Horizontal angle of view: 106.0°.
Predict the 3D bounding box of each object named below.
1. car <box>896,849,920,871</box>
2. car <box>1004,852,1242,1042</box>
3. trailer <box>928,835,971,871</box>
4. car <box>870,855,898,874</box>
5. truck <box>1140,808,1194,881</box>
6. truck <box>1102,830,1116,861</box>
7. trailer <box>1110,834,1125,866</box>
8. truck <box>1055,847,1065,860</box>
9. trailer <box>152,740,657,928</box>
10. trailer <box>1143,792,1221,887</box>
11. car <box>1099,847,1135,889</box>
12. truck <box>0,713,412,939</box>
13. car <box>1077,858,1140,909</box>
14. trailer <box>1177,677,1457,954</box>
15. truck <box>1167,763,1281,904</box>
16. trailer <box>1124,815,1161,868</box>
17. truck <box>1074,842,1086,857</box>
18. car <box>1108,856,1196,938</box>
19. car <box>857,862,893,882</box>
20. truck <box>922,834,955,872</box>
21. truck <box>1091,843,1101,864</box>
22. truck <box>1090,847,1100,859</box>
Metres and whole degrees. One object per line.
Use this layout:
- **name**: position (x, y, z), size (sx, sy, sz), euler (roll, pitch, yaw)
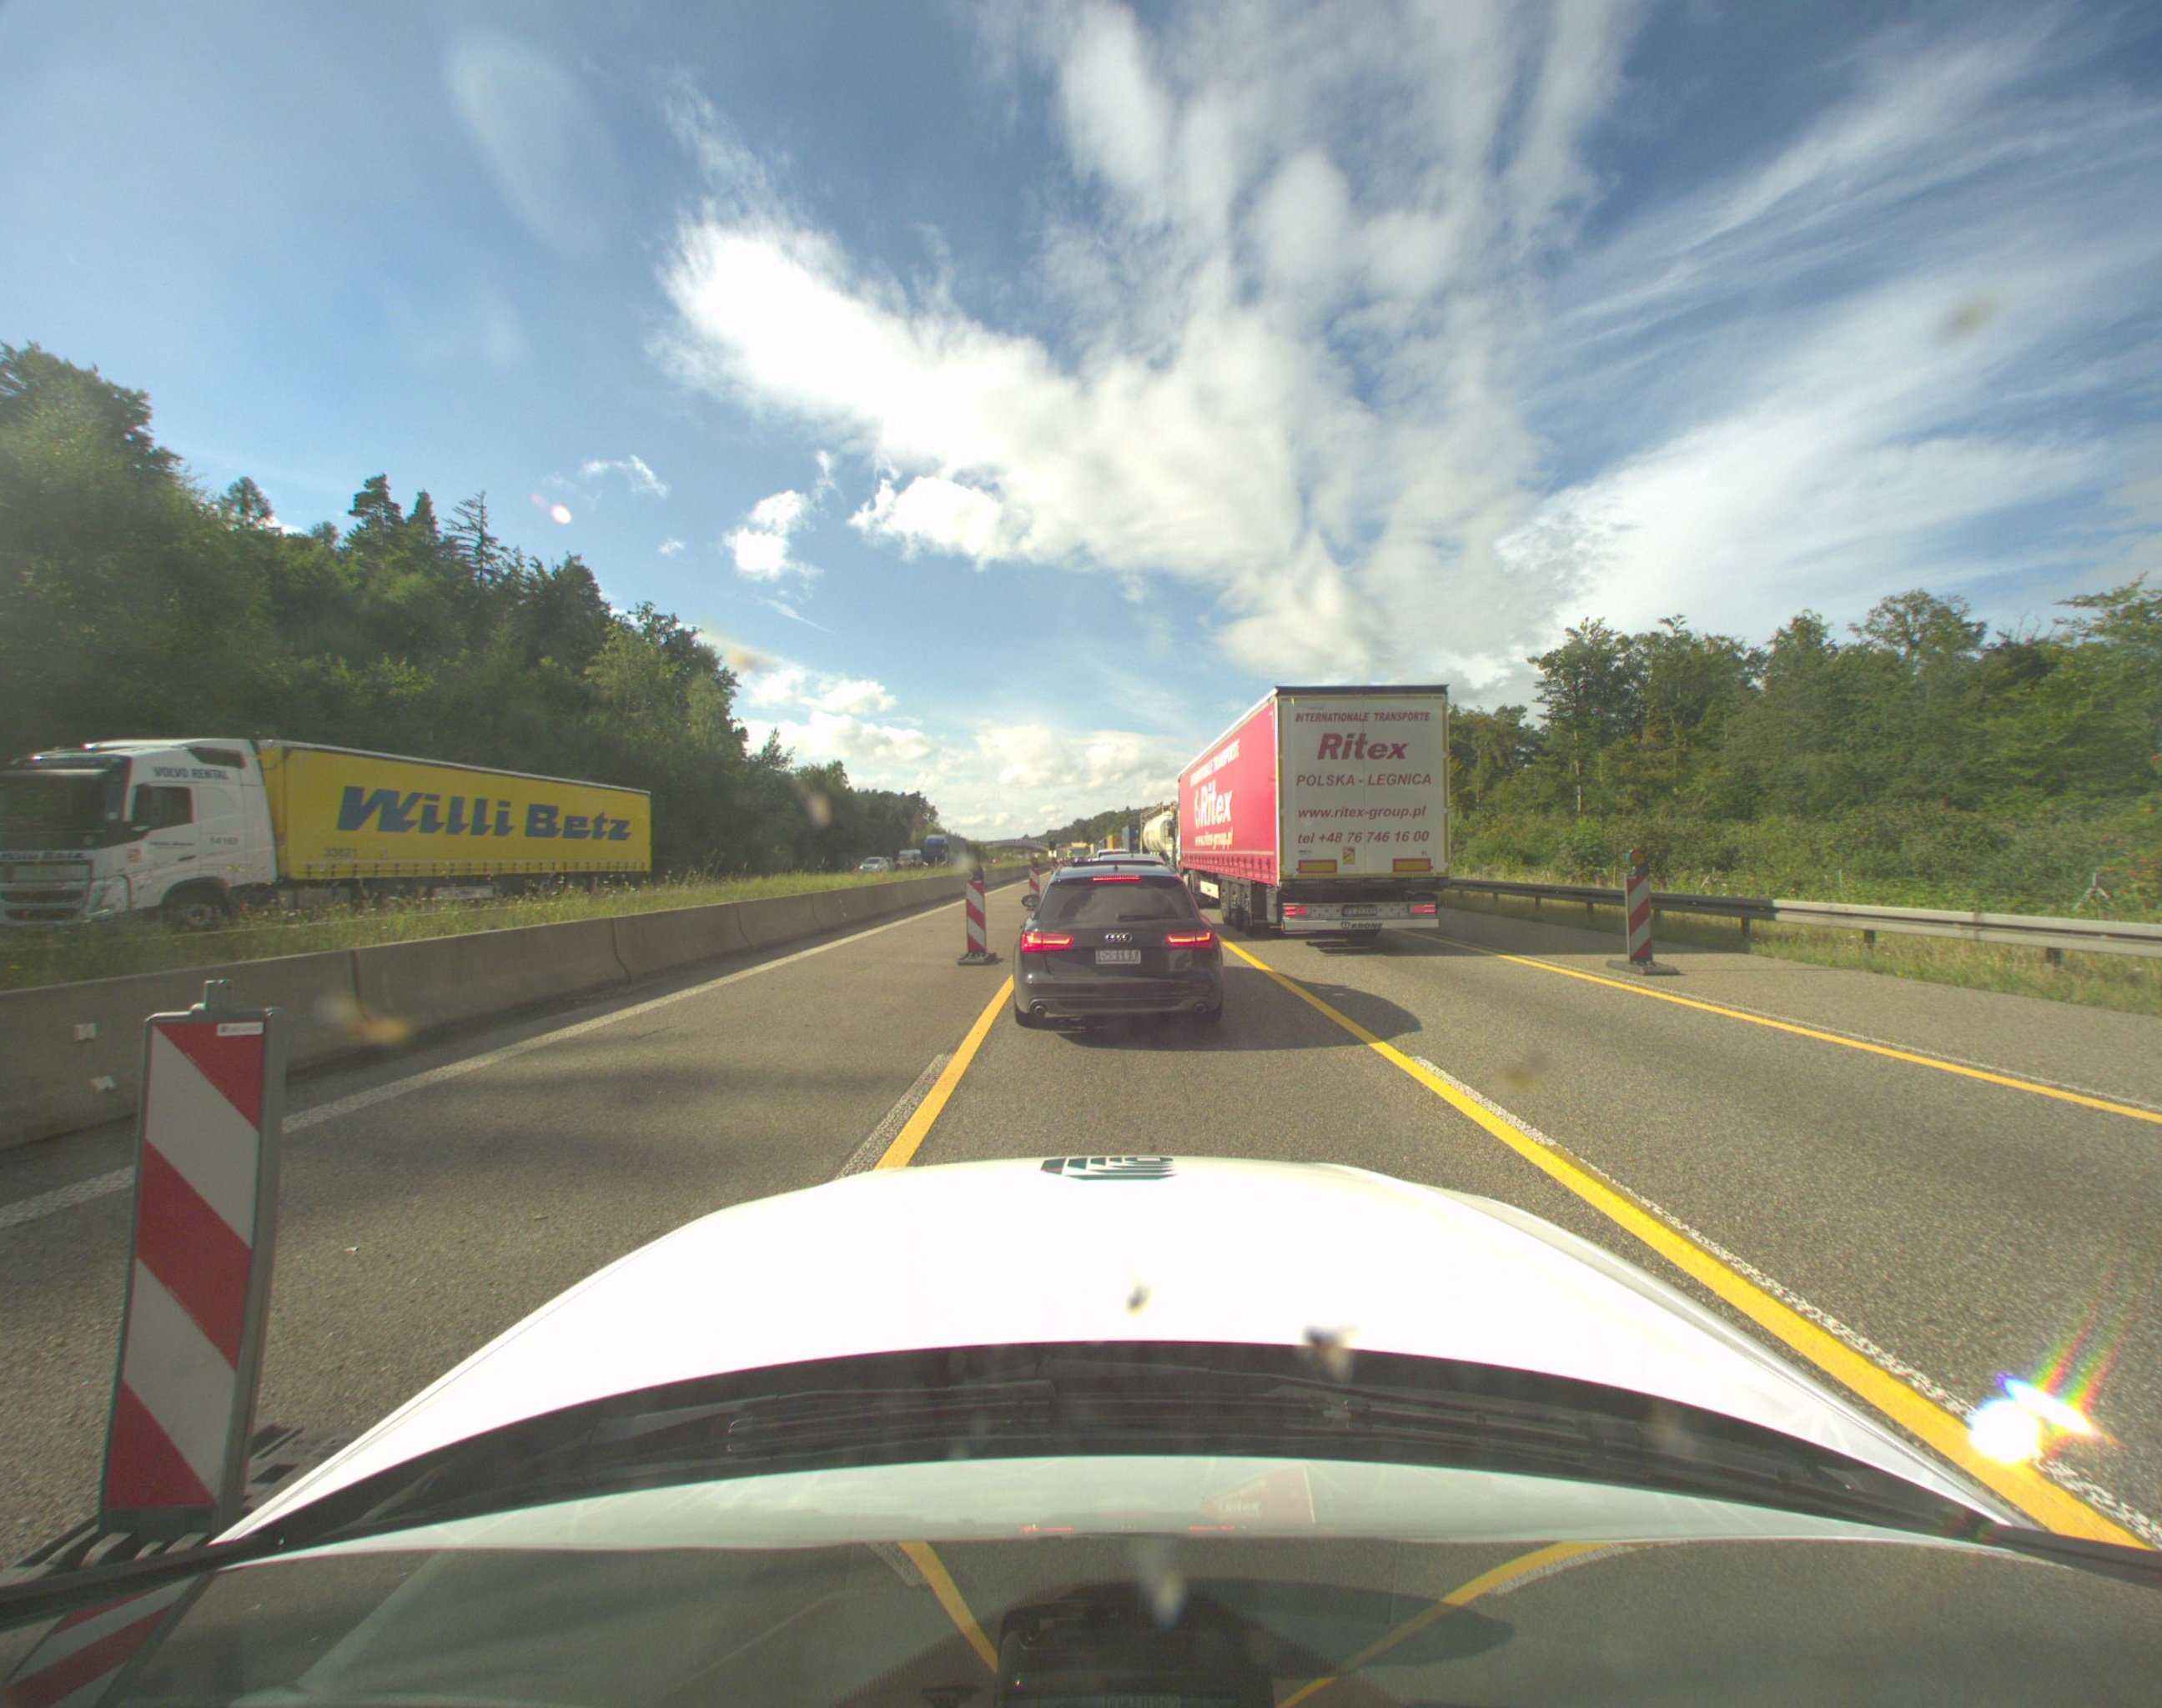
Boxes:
- **car**: position (-20.824, 0.749, 98.142), size (2.247, 2.643, 5.009), euler (0, -1, -6)
- **car**: position (0.392, 0.748, 8.388), size (1.842, 1.463, 4.001), euler (-1, -1, 2)
- **trailer**: position (-15.918, -0.085, 99.796), size (2.610, 4.141, 13.377), euler (-1, 0, 2)
- **car**: position (-21.332, 1.177, 88.282), size (1.986, 2.014, 4.001), euler (0, -1, 2)
- **truck**: position (4.896, -0.508, 47.248), size (2.649, 3.972, 5.780), euler (0, -1, 2)
- **truck**: position (4.578, -1.342, 134.682), size (1.987, 4.914, 9.562), euler (-1, 0, 0)
- **trailer**: position (4.480, -0.467, 101.159), size (1.611, 3.918, 6.490), euler (0, -1, 1)
- **truck**: position (-6.929, -0.245, 265.581), size (3.296, 4.175, 9.694), euler (-1, 0, -2)
- **trailer**: position (-17.770, -0.358, 23.990), size (2.817, 3.922, 13.945), euler (0, -1, 2)
- **trailer**: position (4.674, -0.566, 40.214), size (2.634, 3.943, 12.602), euler (0, 0, 2)
- **car**: position (1.631, 0.621, 37.536), size (1.575, 1.837, 3.113), euler (0, -1, 2)
- **truck**: position (-17.998, -0.459, 17.107), size (2.816, 3.909, 5.951), euler (0, -1, 2)
- **car**: position (0.813, 0.822, 24.172), size (1.745, 1.397, 3.609), euler (0, -1, 2)
- **trailer**: position (4.198, -0.551, 18.448), size (2.690, 3.969, 13.420), euler (-1, 0, 1)
- **truck**: position (4.336, -0.569, 25.807), size (2.658, 3.959, 5.711), euler (-1, 0, 1)
- **trailer**: position (5.433, -1.005, 73.613), size (2.795, 4.413, 10.436), euler (0, -1, 2)
- **truck**: position (-0.296, -1.231, 231.615), size (3.293, 4.175, 9.700), euler (-1, 0, 0)
- **car**: position (1.299, 0.772, 15.928), size (1.518, 1.439, 3.286), euler (0, -1, 2)
- **car**: position (-16.631, 1.423, 65.860), size (1.780, 1.560, 4.001), euler (0, -1, 2)
- **truck**: position (-16.165, -0.073, 92.628), size (2.628, 4.189, 5.469), euler (-1, 0, 2)
- **truck**: position (3.088, -0.058, 166.334), size (2.130, 4.257, 7.073), euler (0, -1, 1)
- **truck**: position (3.962, -0.236, 230.506), size (2.558, 3.466, 7.398), euler (0, -1, 0)
